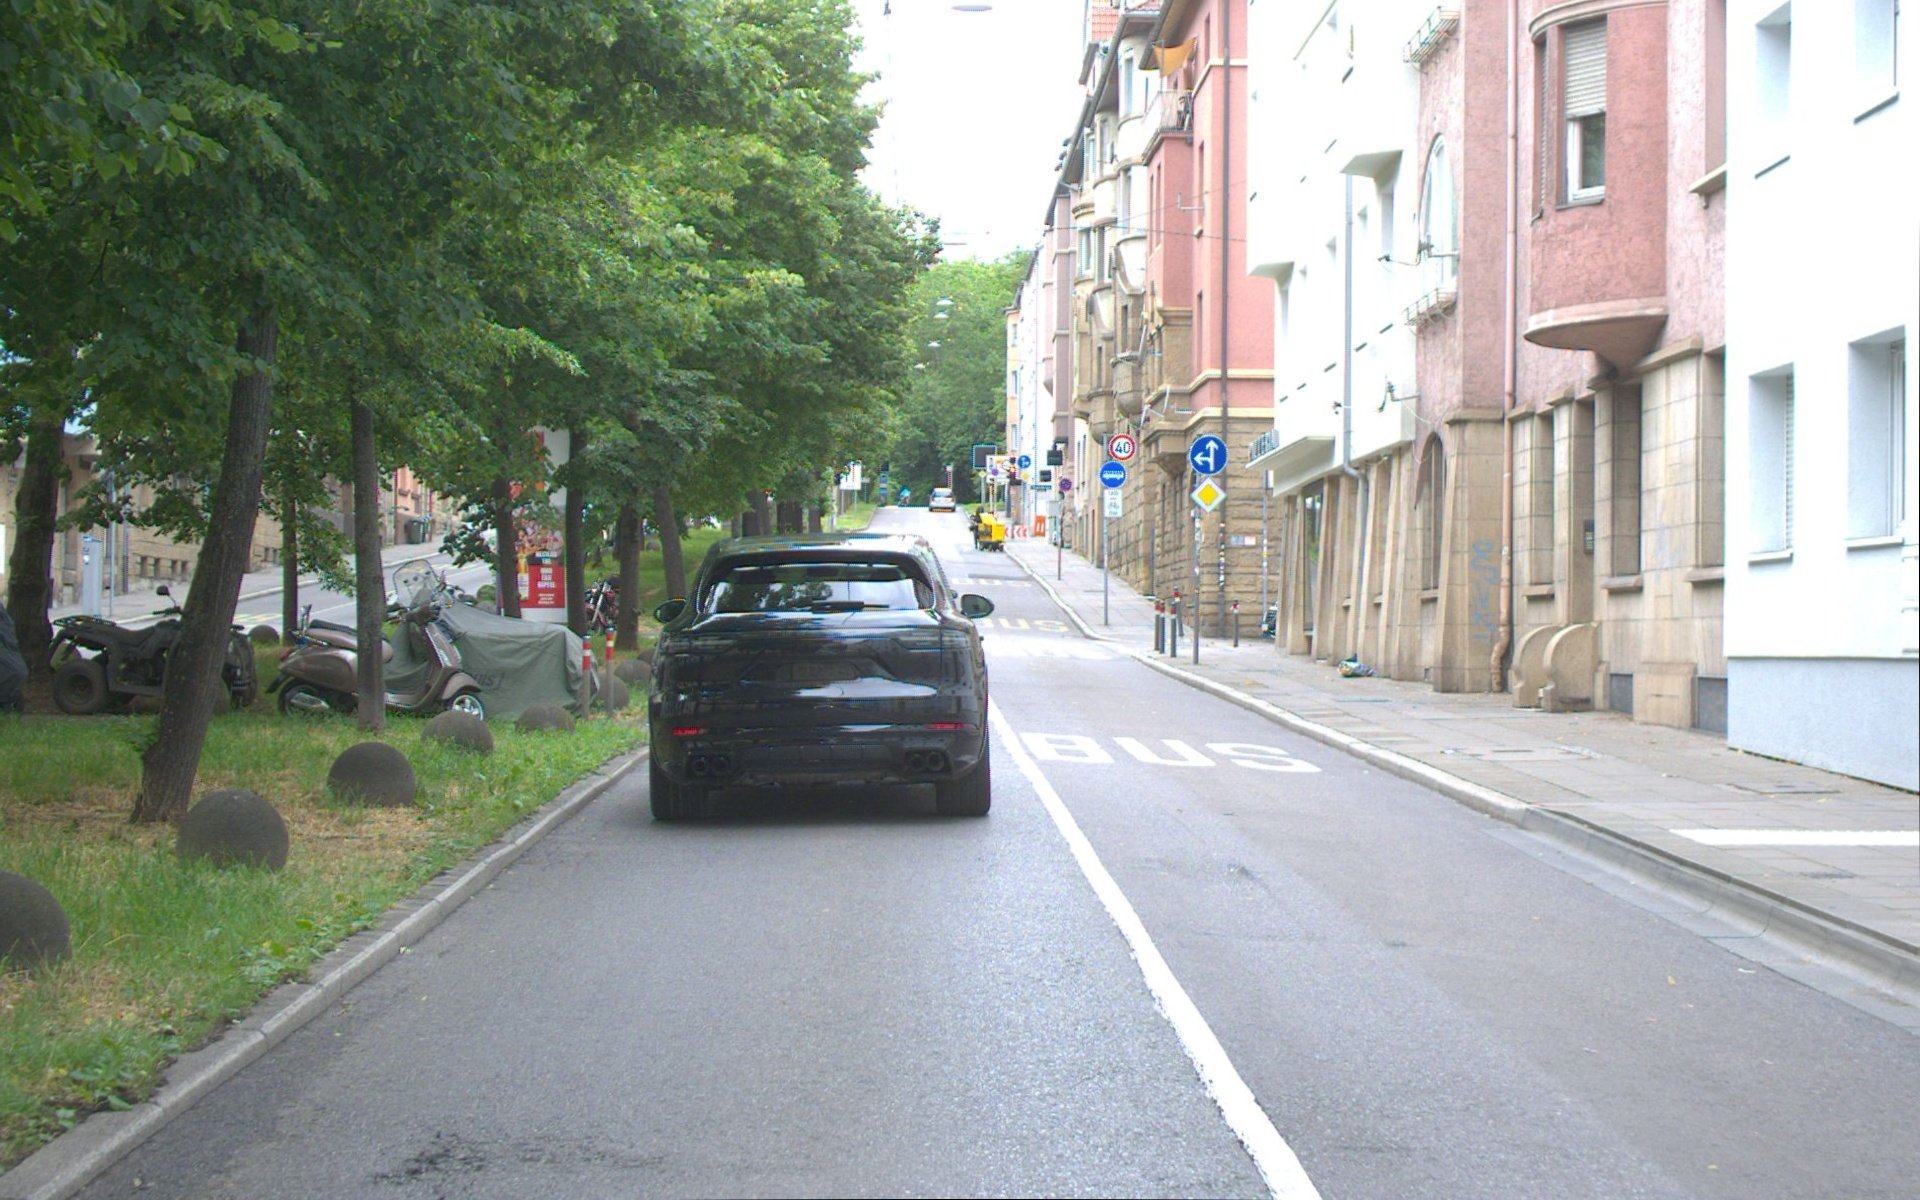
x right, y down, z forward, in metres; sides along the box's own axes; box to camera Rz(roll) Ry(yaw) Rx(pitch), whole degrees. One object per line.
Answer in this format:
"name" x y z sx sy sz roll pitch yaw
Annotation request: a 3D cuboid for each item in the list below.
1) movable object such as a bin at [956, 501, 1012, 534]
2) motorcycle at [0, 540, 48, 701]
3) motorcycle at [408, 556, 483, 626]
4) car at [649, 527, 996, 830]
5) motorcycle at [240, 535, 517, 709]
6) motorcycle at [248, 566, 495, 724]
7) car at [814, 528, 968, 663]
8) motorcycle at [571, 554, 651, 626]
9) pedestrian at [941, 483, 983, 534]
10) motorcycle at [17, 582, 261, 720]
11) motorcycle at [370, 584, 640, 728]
"movable object such as a bin" 0.942 -3.229 135.118 1.237 1.270 1.845 0 1 -41
"motorcycle" -8.944 0.146 28.697 2.382 1.312 1.046 1 1 -2
"motorcycle" -8.346 -0.133 55.857 0.900 1.103 2.251 0 -1 0
"car" -0.846 0.402 21.139 1.903 1.660 4.136 1 1 -2
"motorcycle" -4.985 0.177 29.574 2.194 1.433 0.874 1 1 2
"motorcycle" -4.908 0.380 28.778 1.924 1.292 0.893 0 -1 -2
"car" -0.915 -0.092 46.961 1.993 1.747 4.000 1 1 0
"motorcycle" -5.677 -0.176 56.000 1.062 1.144 2.448 0 1 0
"pedestrian" 0.085 -3.623 136.062 1.301 2.007 1.020 0 1 -36
"motorcycle" -7.629 0.466 32.018 2.029 1.231 0.897 1 1 5
"motorcycle" -4.155 0.505 31.553 2.355 1.231 1.034 1 2 -2
